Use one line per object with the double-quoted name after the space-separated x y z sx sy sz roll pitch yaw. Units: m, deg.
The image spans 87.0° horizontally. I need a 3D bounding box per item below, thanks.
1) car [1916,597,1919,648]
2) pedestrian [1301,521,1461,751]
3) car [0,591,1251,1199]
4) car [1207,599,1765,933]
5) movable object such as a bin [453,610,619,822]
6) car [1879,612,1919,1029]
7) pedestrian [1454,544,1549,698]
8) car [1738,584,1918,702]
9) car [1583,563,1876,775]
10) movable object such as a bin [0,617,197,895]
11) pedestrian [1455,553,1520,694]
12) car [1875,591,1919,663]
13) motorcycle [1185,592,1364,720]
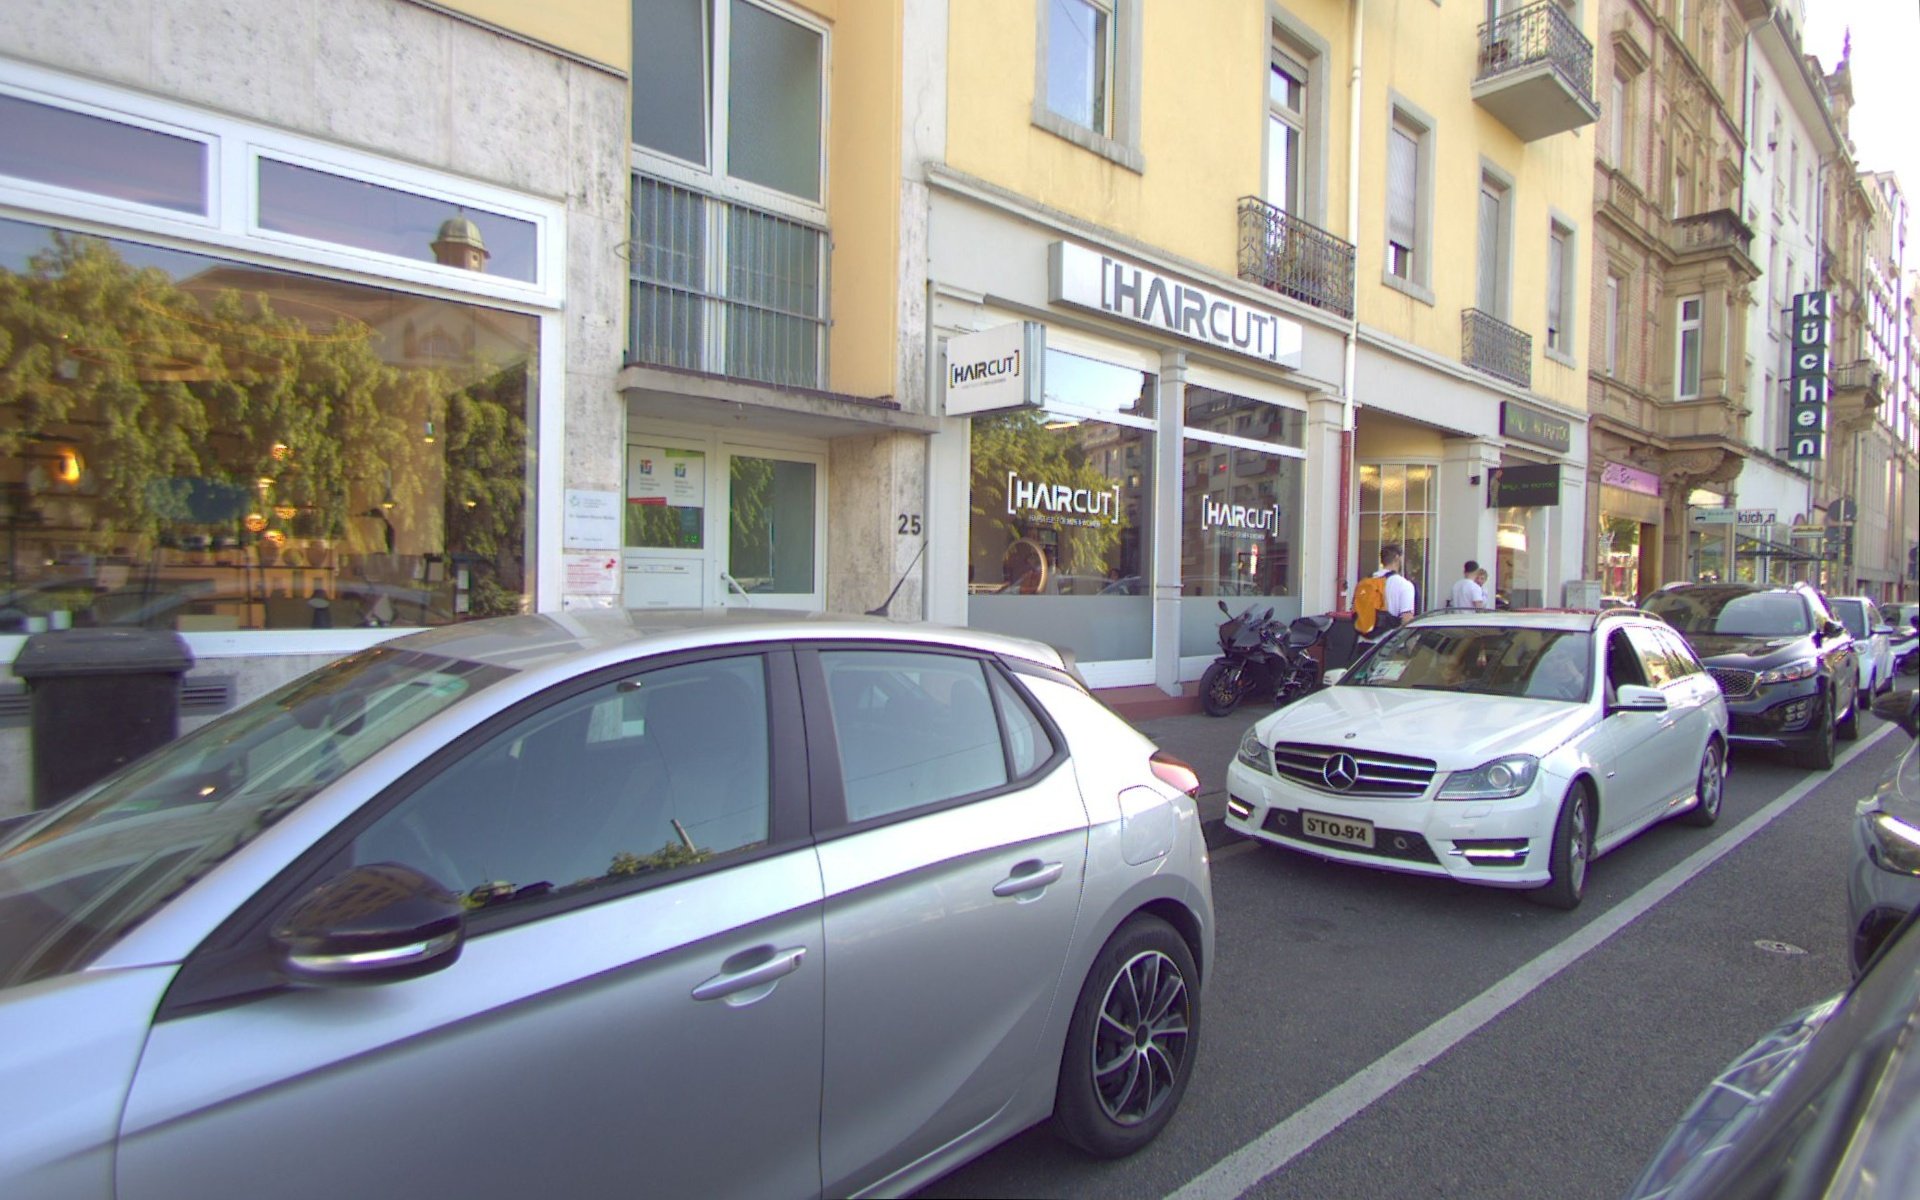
26.611 0.575 26.929 3.306 1.334 1.459 -1 0 -42 "car"
3.630 0.266 8.733 0.964 1.844 0.811 0 4 -37 "pedestrian"
-1.006 0.717 2.310 3.625 1.455 1.585 -1 0 -43 "car"
3.533 0.710 6.390 4.301 1.389 1.671 -1 0 -41 "car"
-2.326 0.582 5.540 0.639 1.036 0.737 0 0 -41 "movable object such as a bin"
5.398 0.751 4.379 4.397 1.385 1.767 -1 1 -43 "car"
6.866 0.256 12.867 0.961 1.900 0.532 0 0 18 "pedestrian"
12.772 0.548 14.855 2.945 1.542 1.582 -1 0 -41 "car"
8.010 0.532 10.369 4.338 1.711 1.802 -1 0 -45 "car"
-3.684 0.601 4.317 0.639 1.036 0.737 0 0 -41 "movable object such as a bin"
7.240 0.302 13.877 0.627 1.859 0.760 0 0 41 "pedestrian"
21.899 0.567 22.811 3.736 1.509 1.691 -1 0 -45 "car"
3.302 0.525 10.507 2.073 1.144 0.735 -1 5 -41 "motorcycle"
